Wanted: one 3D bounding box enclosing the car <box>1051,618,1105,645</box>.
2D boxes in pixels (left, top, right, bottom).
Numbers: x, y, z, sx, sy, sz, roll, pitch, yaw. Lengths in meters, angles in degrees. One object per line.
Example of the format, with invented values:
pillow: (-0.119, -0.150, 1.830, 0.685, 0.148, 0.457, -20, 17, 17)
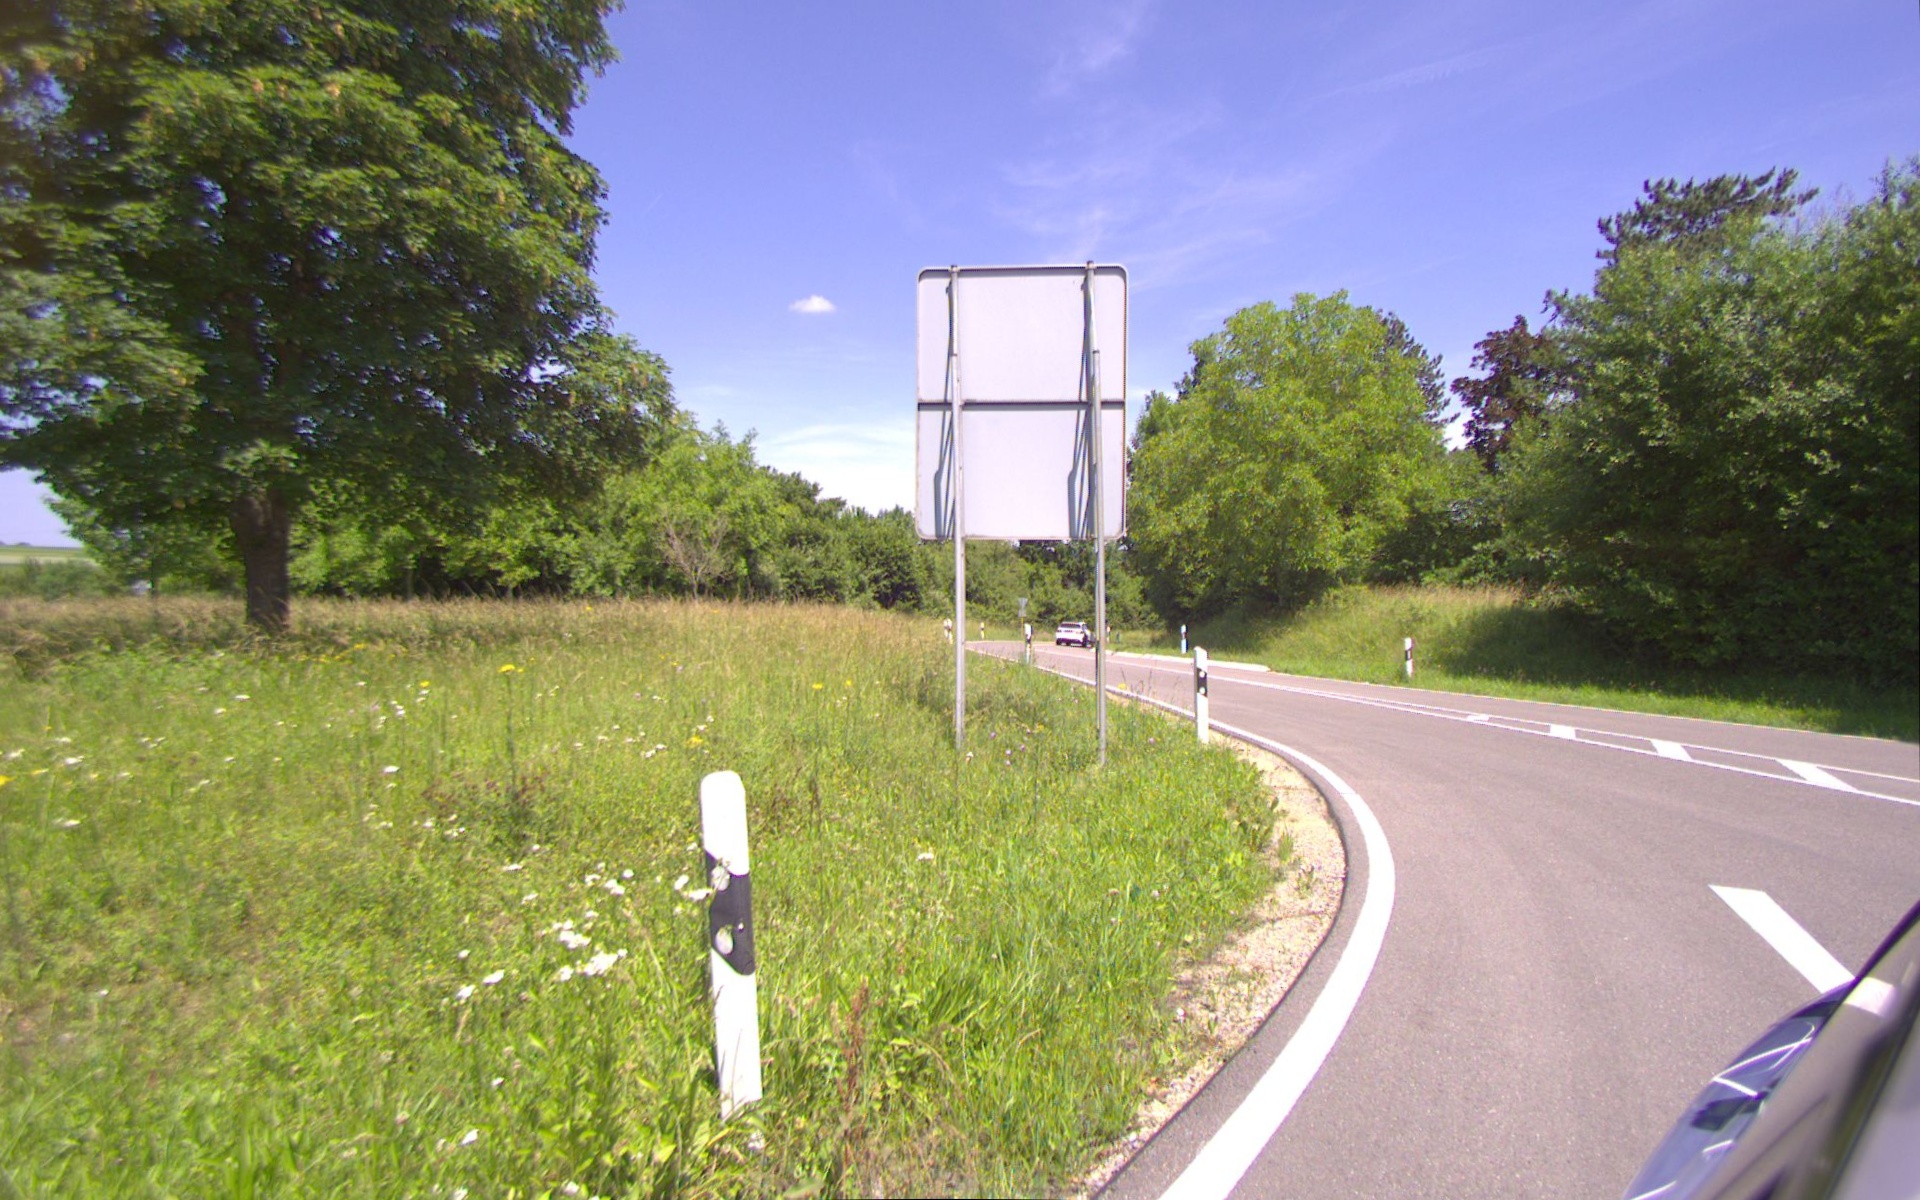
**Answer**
car: (7.023, 1.874, 59.796, 1.789, 1.431, 5.292, 1, -2, 22)
